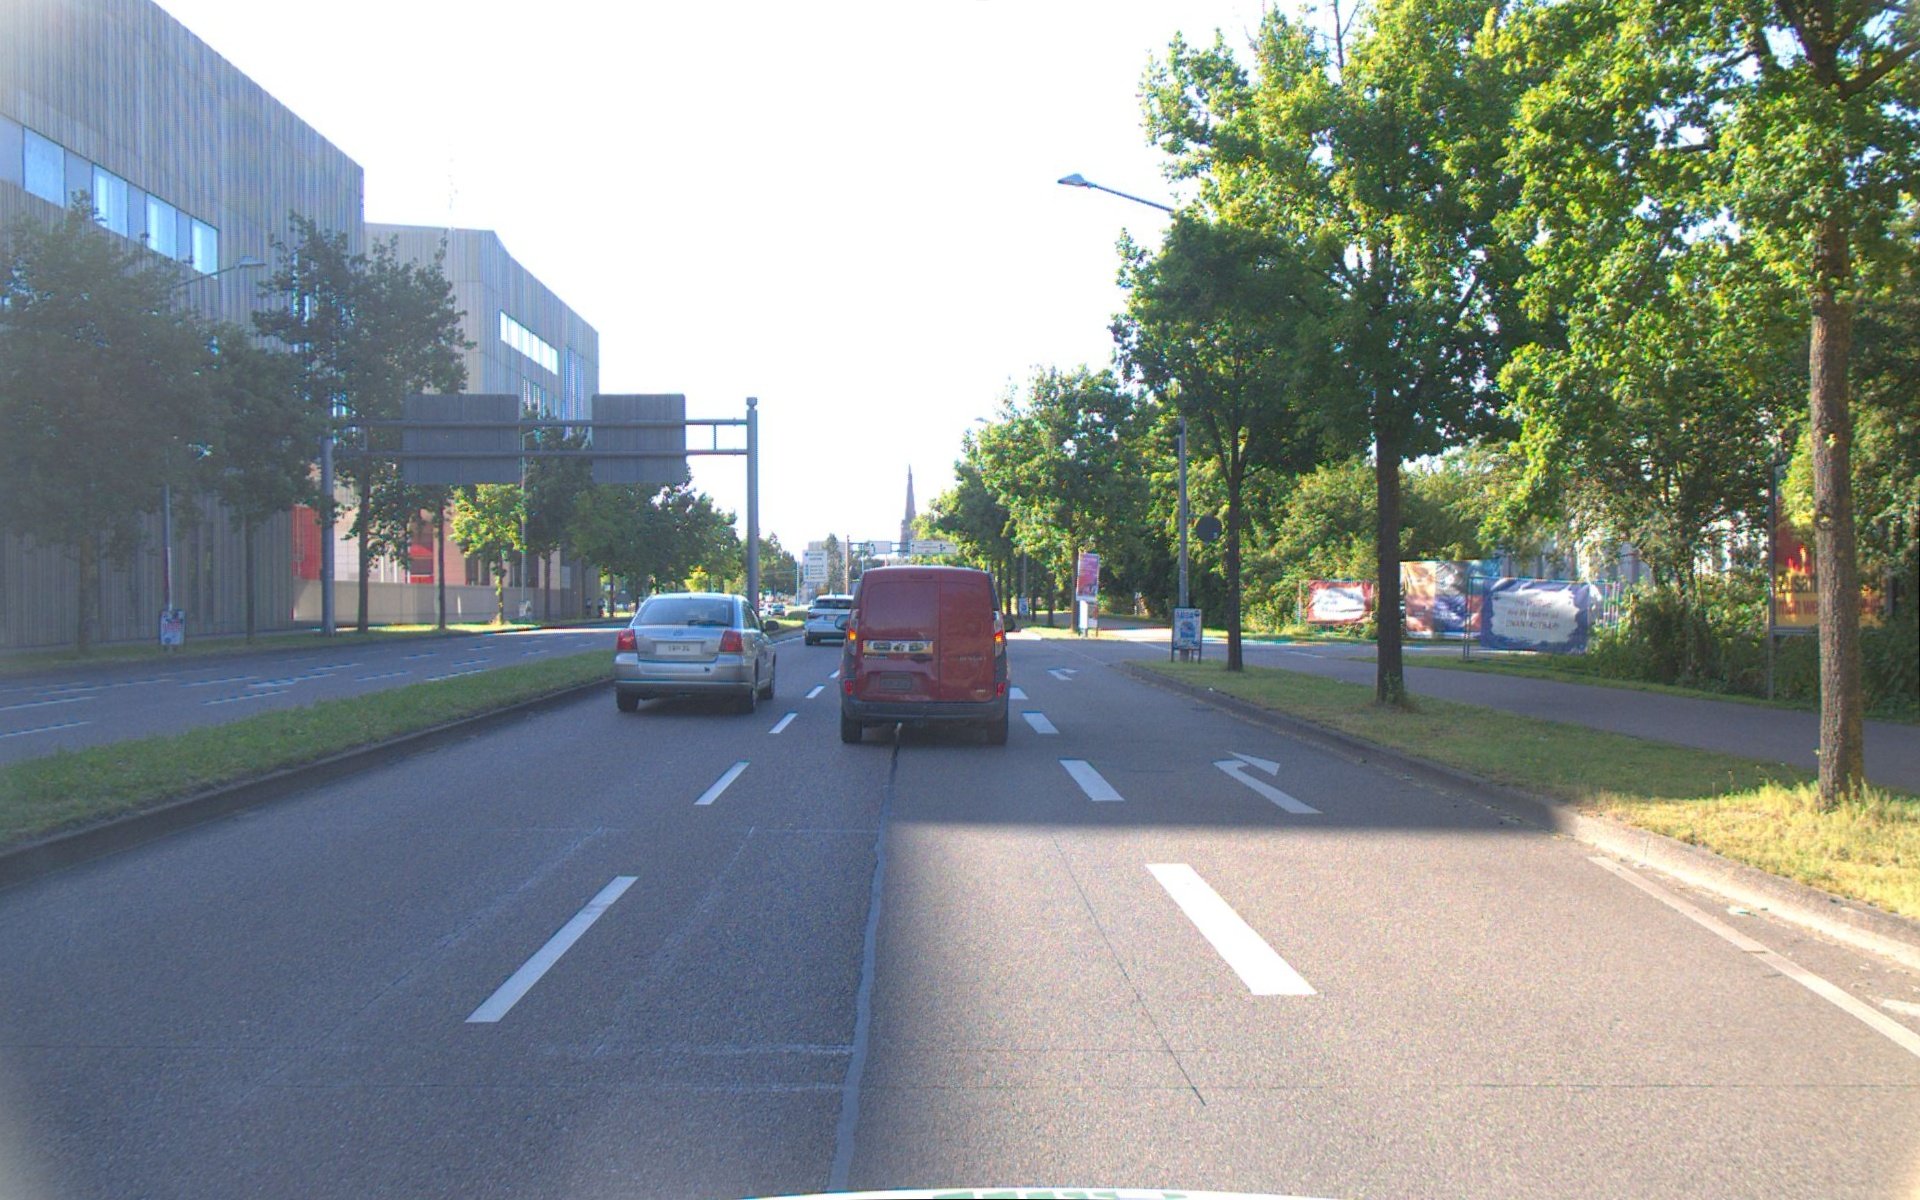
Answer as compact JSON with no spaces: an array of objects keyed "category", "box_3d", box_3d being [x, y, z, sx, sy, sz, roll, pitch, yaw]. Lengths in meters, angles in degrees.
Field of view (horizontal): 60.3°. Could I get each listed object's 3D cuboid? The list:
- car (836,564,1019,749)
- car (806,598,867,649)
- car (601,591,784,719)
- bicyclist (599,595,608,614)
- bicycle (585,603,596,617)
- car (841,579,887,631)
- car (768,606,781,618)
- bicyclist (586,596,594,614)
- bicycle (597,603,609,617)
[{"category":"car","box_3d":[-0.384,0.557,18.177,1.770,1.790,4.004,1,0,-2]},{"category":"car","box_3d":[-3.579,0.669,48.377,1.628,1.422,3.557,0,0,-2]},{"category":"car","box_3d":[-3.386,0.653,21.667,1.804,1.482,4.161,1,0,-1]},{"category":"bicyclist","box_3d":[-27.378,0.326,126.917,0.551,1.417,0.747,0,-1,-3]},{"category":"bicycle","box_3d":[-28.518,0.780,127.625,0.477,1.021,2.095,0,-1,-3]},{"category":"car","box_3d":[-3.568,0.181,62.002,1.628,1.889,3.557,0,0,-2]},{"category":"car","box_3d":[-22.718,1.448,202.467,1.417,1.461,3.457,0,0,-3]},{"category":"bicyclist","box_3d":[-28.525,0.382,127.648,0.472,1.419,0.844,0,-1,-3]},{"category":"bicycle","box_3d":[-27.373,0.788,126.995,0.558,1.021,2.095,0,-1,-3]}]
